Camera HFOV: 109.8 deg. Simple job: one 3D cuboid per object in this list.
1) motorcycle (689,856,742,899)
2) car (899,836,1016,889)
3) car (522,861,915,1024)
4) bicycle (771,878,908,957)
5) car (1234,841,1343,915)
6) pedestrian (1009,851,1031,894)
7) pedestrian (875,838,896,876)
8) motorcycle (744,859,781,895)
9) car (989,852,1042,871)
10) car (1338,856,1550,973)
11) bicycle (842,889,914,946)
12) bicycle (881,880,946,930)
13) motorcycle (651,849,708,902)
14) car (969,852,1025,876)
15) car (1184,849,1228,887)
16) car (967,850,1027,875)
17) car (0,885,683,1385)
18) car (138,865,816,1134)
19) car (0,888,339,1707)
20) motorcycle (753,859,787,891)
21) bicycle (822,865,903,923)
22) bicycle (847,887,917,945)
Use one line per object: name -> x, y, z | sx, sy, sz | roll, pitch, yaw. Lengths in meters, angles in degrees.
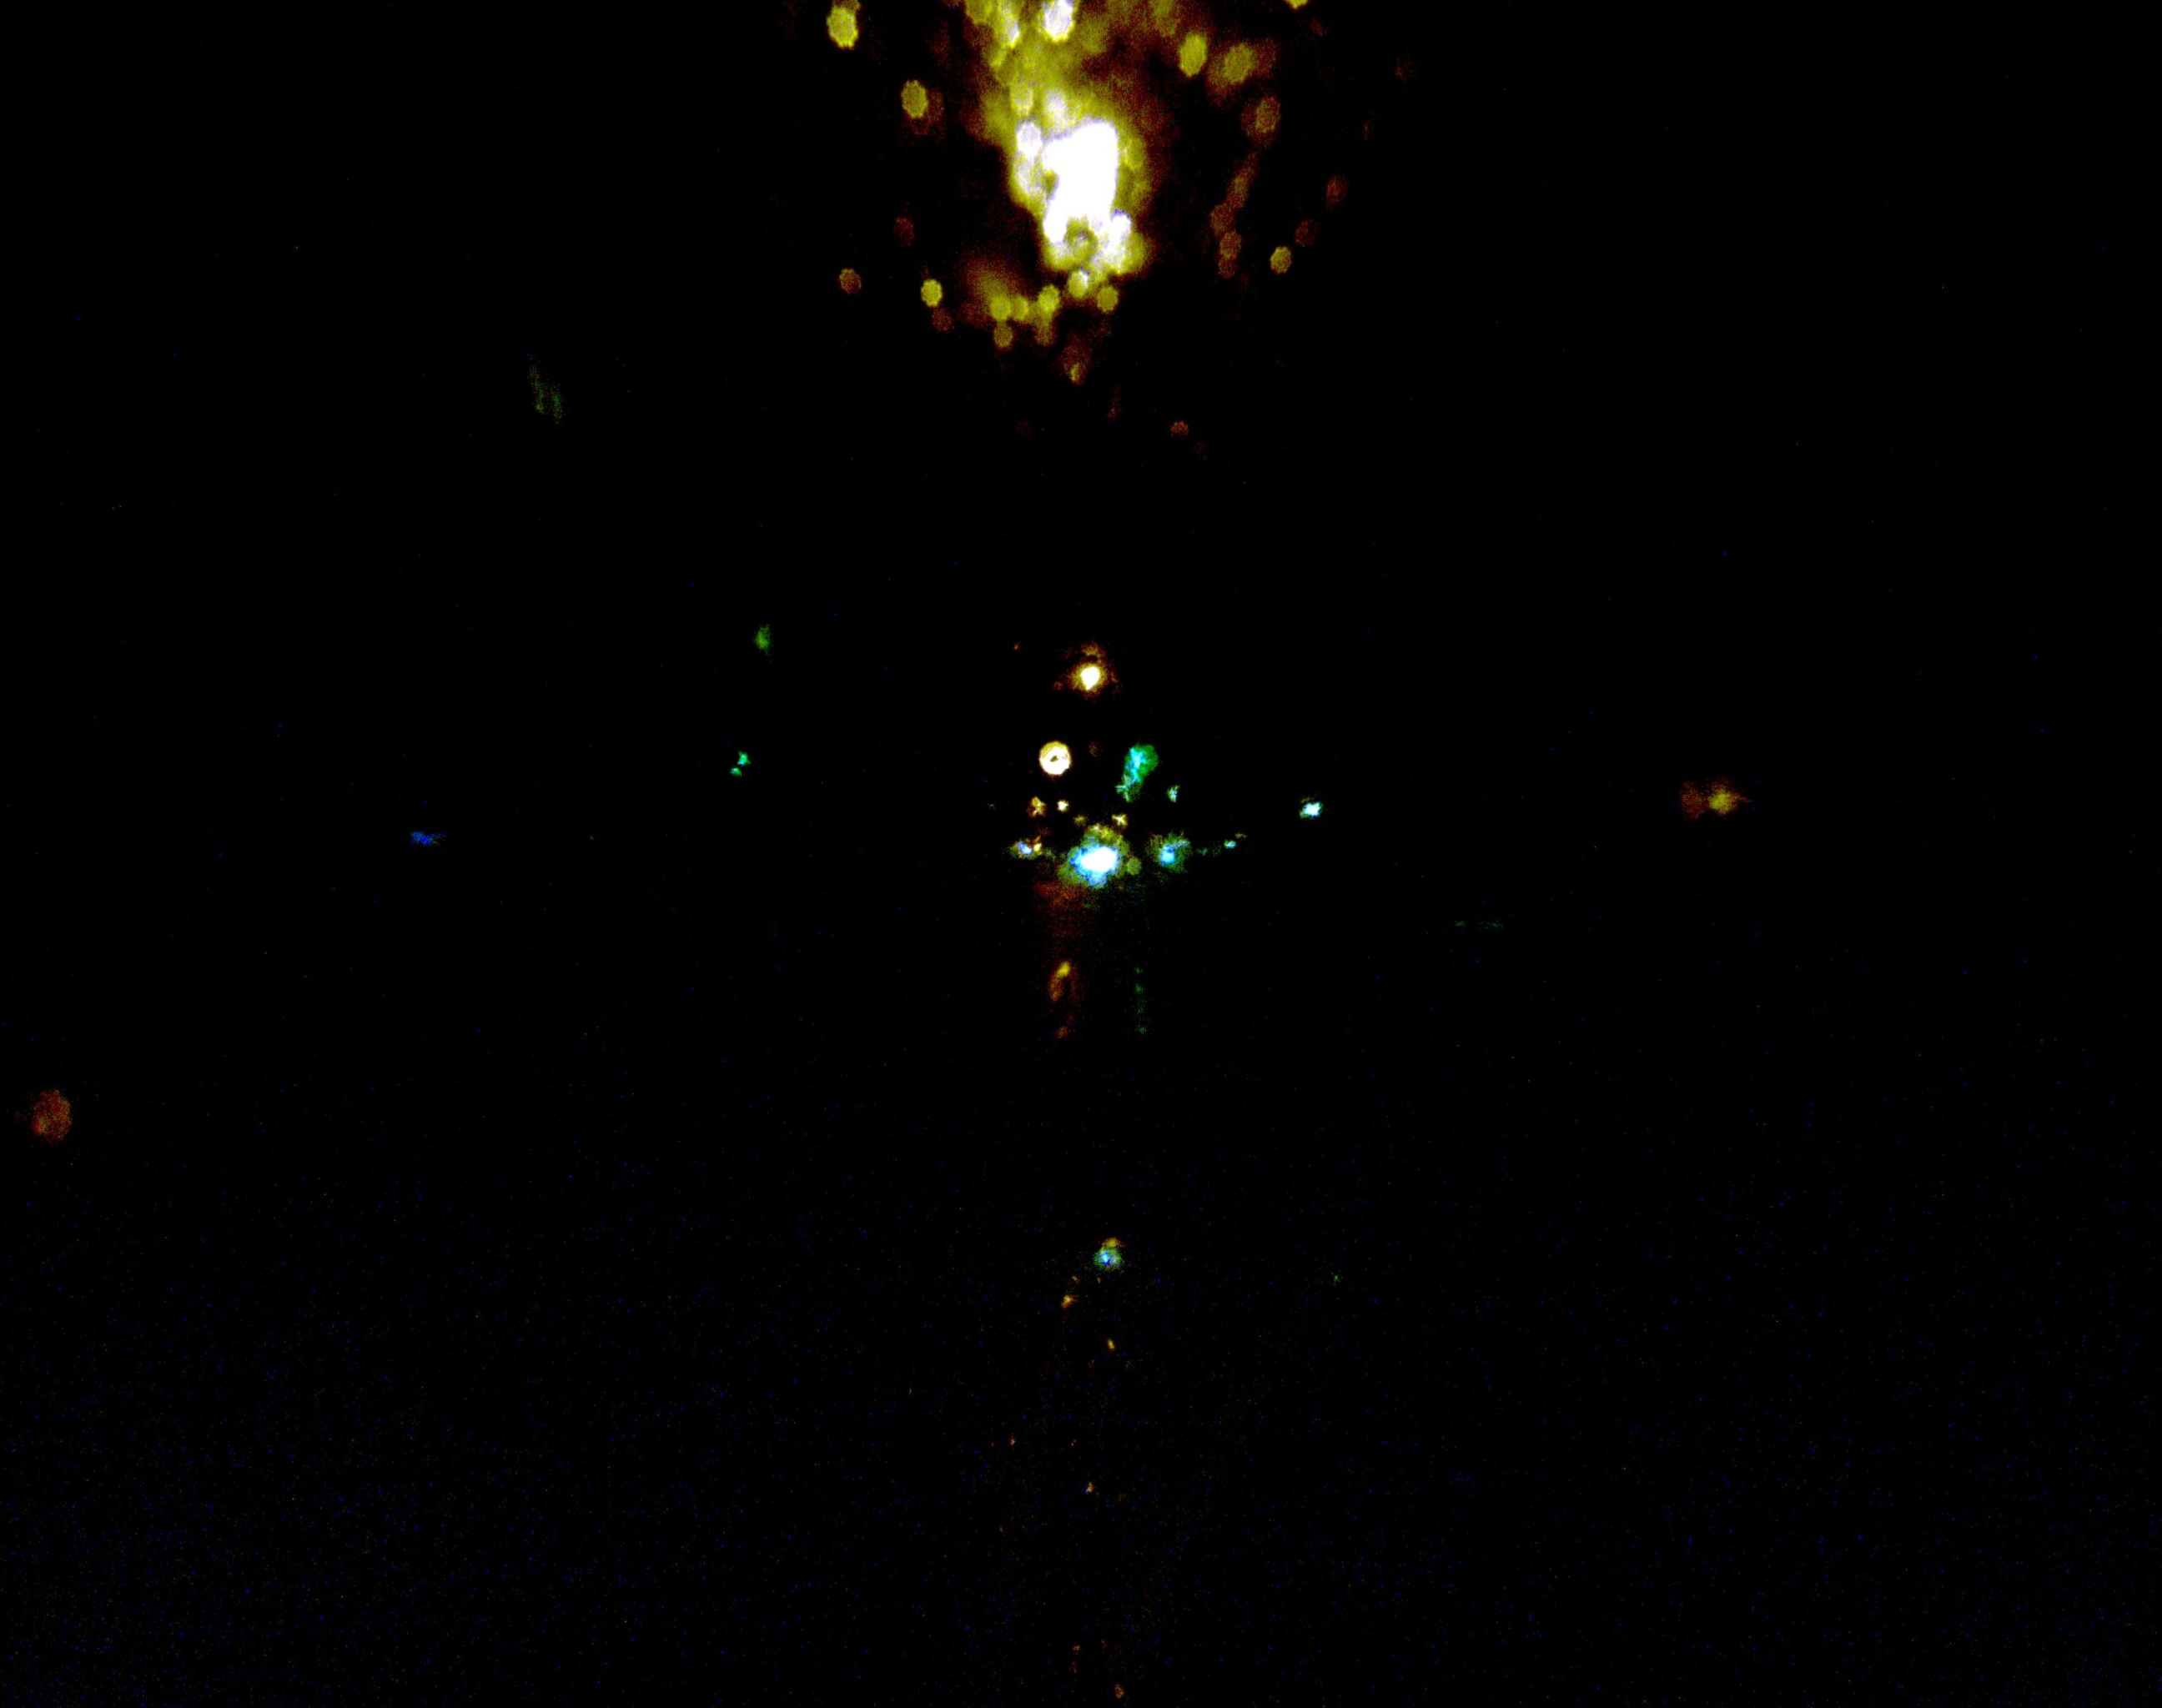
motorcycle -> -10.724, 0.662, 22.362 | 0.524, 1.200, 2.125 | -1, 0, 0
car -> -5.790, 0.352, 35.862 | 4.951, 2.327, 2.226 | 0, 1, -33
car -> -3.965, 0.885, 8.763 | 3.717, 1.514, 1.653 | 1, 1, -24
bicycle -> -3.750, 0.973, 11.872 | 1.893, 1.151, 0.680 | 1, 0, 4
car -> 5.595, 0.577, 21.141 | 1.871, 1.835, 4.827 | 0, 0, 2
pedestrian -> -2.524, 0.749, 31.620 | 0.824, 1.760, 1.177 | 0, 1, 0
pedestrian -> -9.686, 0.173, 37.674 | 0.747, 1.829, 0.843 | 1, -1, 0
motorcycle -> -10.280, 0.710, 24.580 | 0.524, 1.061, 2.056 | -1, 1, -6
car -> -5.432, 0.638, 62.826 | 4.123, 1.483, 1.590 | 1, 0, -37
car -> 5.378, 0.804, 11.770 | 1.550, 1.434, 3.563 | -3, 0, 0
bicycle -> -3.451, 1.082, 12.956 | 1.135, 0.942, 0.267 | -1, 0, -1
bicycle -> -3.409, 1.029, 15.469 | 1.214, 0.942, 0.302 | 3, 0, -2
motorcycle -> -10.488, 0.534, 19.915 | 0.524, 1.311, 2.124 | -1, 0, -6
car -> -5.617, 0.648, 50.920 | 3.403, 1.552, 1.590 | 0, 1, -36
car -> 5.997, 0.630, 36.759 | 1.815, 1.660, 4.413 | -2, 0, 7
car -> -5.928, 0.566, 53.629 | 3.809, 1.679, 1.831 | 0, 1, -30
car -> -3.592, 0.996, 3.340 | 3.051, 1.543, 1.502 | -2, 1, -20
car -> -4.110, 0.895, 5.926 | 3.717, 1.514, 1.653 | 1, 1, -24
car -> -3.707, 0.948, 0.929 | 3.569, 1.601, 1.710 | -2, 1, -20
motorcycle -> -10.821, 0.727, 26.464 | 0.524, 1.061, 1.624 | -1, 0, -1
bicycle -> -4.807, 0.874, 16.750 | 1.668, 1.227, 0.385 | 1, 0, 3
bicycle -> -3.456, 1.076, 13.216 | 1.135, 0.968, 0.249 | -1, 1, -1
